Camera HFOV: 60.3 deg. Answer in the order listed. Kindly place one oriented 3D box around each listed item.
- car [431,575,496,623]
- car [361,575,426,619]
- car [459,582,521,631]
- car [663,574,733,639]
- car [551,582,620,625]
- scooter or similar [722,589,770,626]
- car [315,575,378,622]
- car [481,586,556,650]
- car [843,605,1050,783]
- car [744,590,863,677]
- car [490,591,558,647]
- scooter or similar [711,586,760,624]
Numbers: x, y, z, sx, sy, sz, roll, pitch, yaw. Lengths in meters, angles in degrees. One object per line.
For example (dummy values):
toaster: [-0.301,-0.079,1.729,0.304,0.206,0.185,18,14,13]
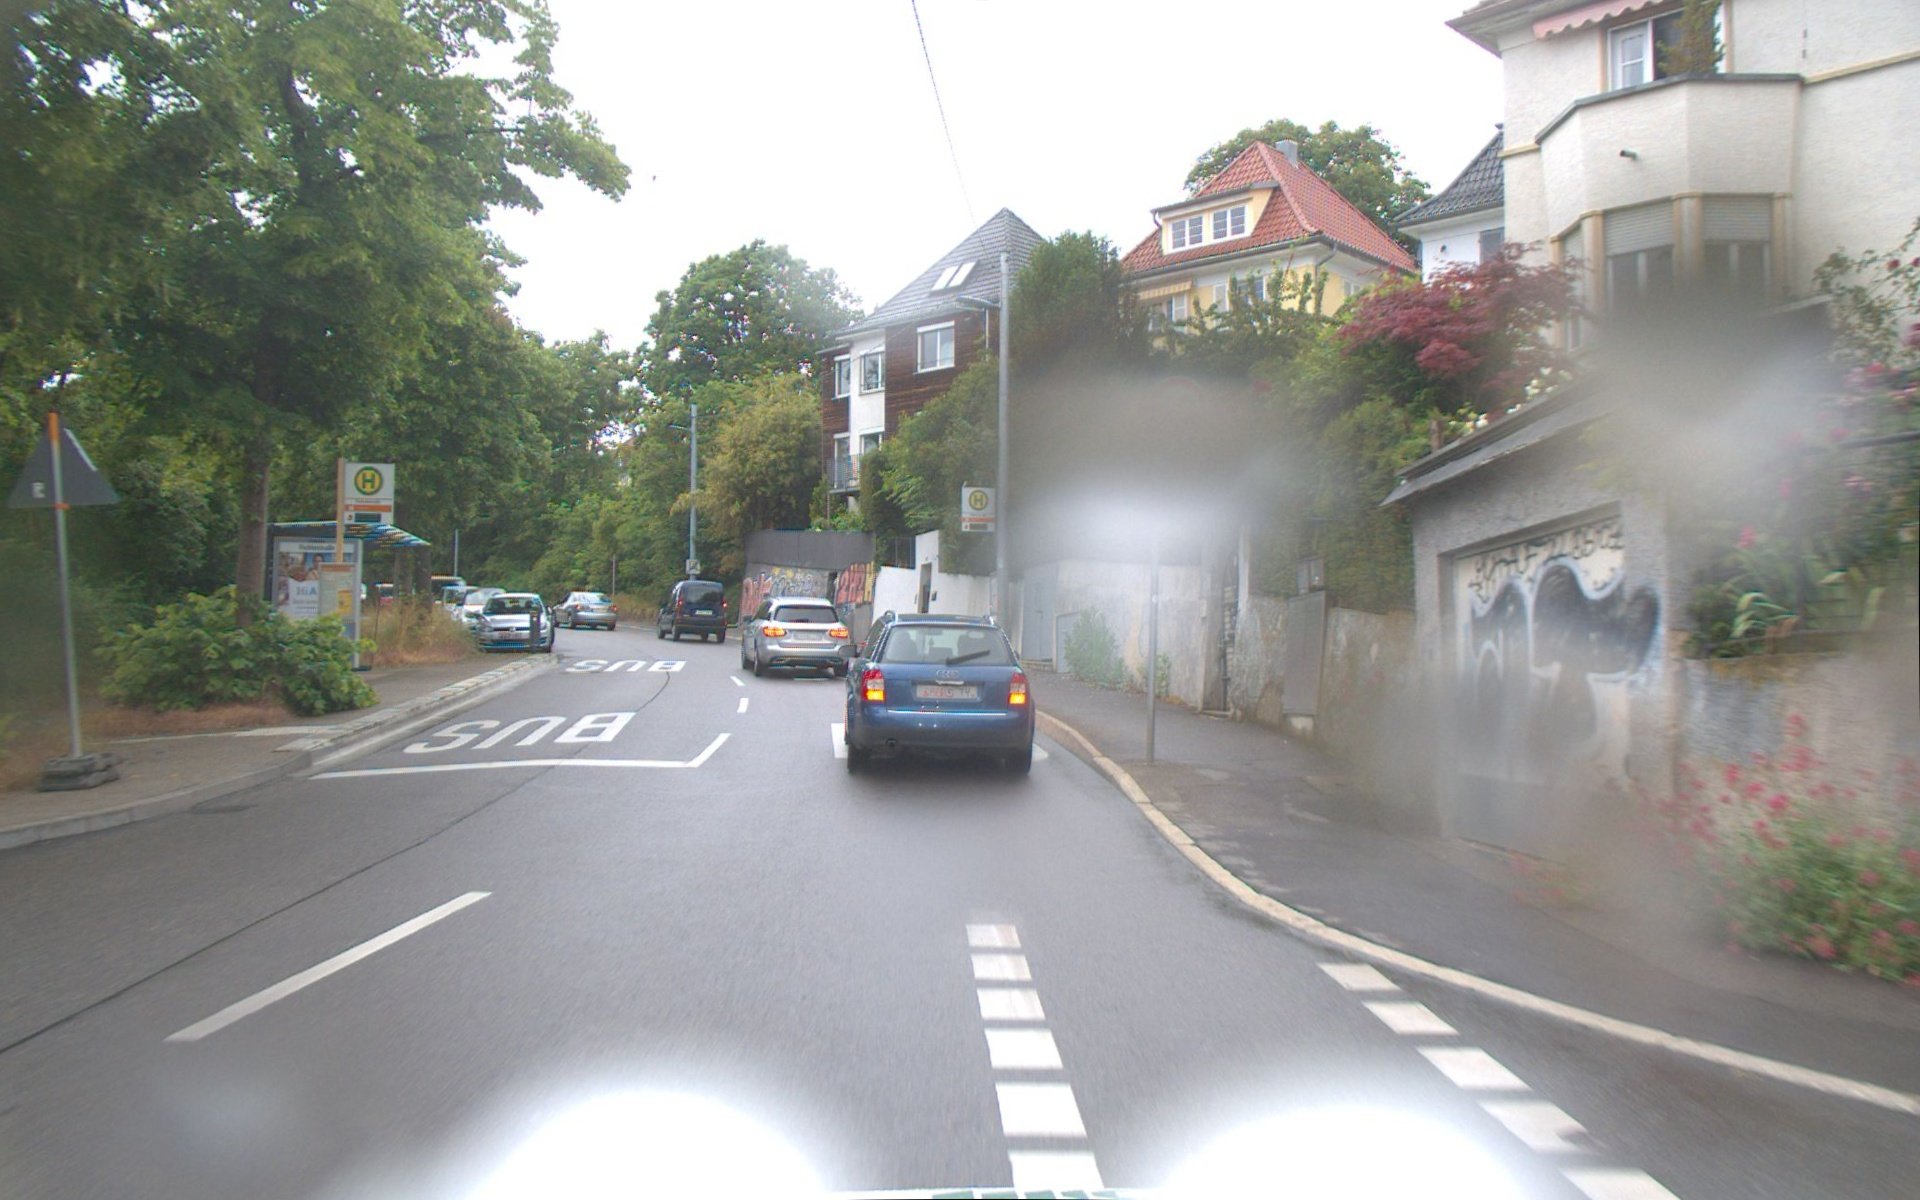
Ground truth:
car: [-17.131,-0.071,56.952,1.652,1.579,3.873,-1,1,-24]
car: [-23.796,-0.135,69.408,1.971,1.758,3.964,-2,1,-27]
car: [-14.789,0.164,51.938,1.648,1.451,3.978,-1,1,-19]
car: [-8.195,0.172,51.494,1.702,1.927,4.039,-1,1,-15]
car: [-14.576,0.116,64.240,1.744,1.597,3.997,-1,1,-26]
scooter or similar: [-8.708,0.320,67.246,1.803,1.338,0.598,5,-4,-14]
car: [-27.703,-0.079,74.619,1.973,2.049,3.959,-1,1,-30]
car: [-10.857,0.403,40.897,1.645,1.451,3.987,-1,1,-13]
car: [-0.153,0.820,16.230,1.741,1.464,3.999,2,0,-1]
car: [-3.107,0.600,32.075,1.874,1.412,4.340,3,0,-11]
car: [-12.113,0.490,45.839,1.647,1.451,3.981,-1,1,-17]
scooter or similar: [-9.018,0.197,66.308,1.803,1.338,0.598,5,-4,-14]
